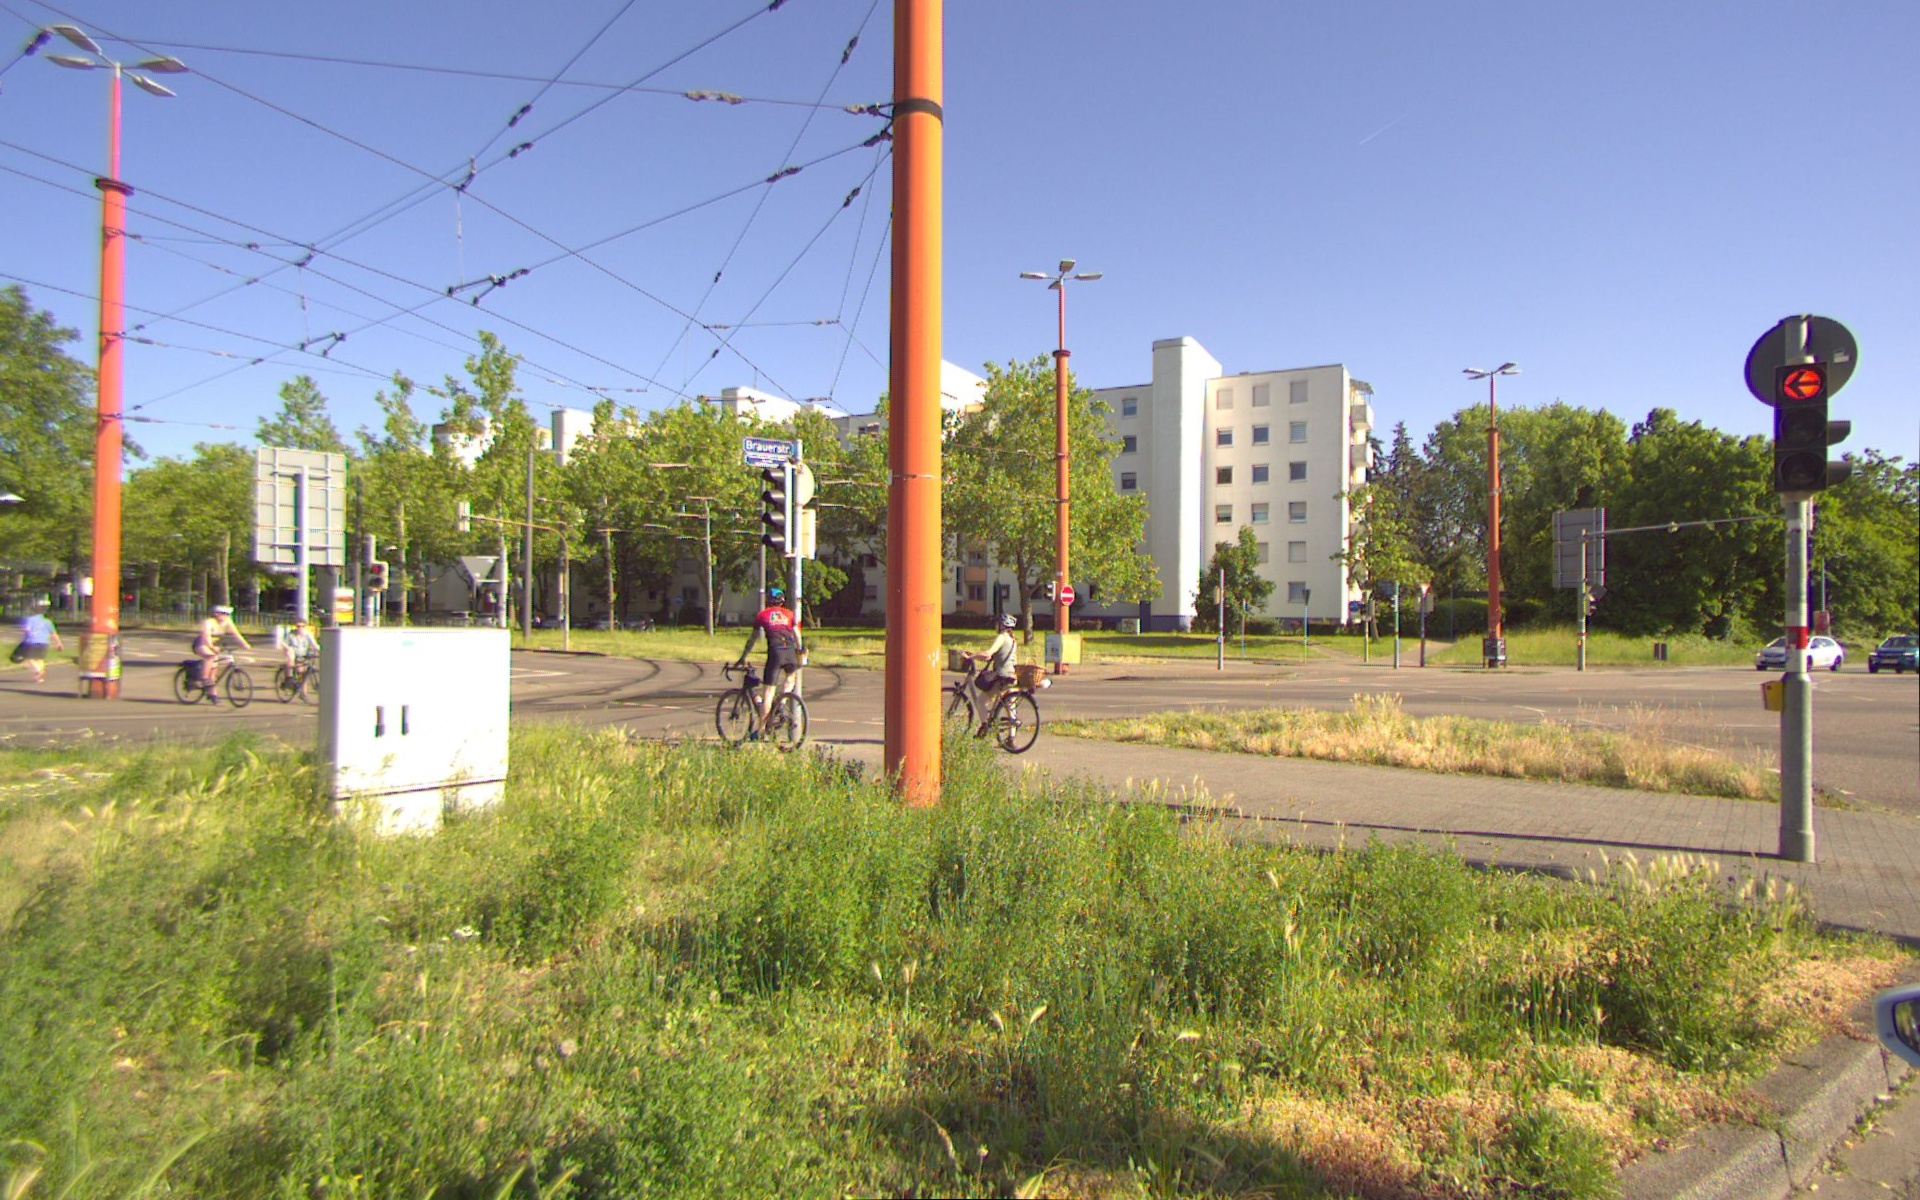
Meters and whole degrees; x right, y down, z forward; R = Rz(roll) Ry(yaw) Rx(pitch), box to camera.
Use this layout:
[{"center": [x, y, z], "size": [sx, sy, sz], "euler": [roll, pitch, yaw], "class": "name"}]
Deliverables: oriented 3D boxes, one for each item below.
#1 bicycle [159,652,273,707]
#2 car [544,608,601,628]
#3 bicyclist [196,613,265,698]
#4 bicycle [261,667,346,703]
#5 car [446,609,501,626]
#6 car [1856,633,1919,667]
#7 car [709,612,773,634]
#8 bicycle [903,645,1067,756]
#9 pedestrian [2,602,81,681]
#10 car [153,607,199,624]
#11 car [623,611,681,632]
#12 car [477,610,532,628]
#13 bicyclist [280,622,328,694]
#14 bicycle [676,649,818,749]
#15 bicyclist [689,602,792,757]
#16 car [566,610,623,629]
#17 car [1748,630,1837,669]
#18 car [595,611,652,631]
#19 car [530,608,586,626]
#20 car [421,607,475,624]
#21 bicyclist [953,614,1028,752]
[{"center": [-13.990, 1.491, 18.909], "size": [1.612, 0.974, 0.685], "euler": [1, -1, -1], "class": "bicycle"}, {"center": [-30.075, 1.413, 78.072], "size": [3.934, 1.428, 1.794], "euler": [1, -1, -16], "class": "car"}, {"center": [-13.758, 1.030, 18.961], "size": [0.752, 1.565, 0.732], "euler": [1, -1, -1], "class": "bicyclist"}, {"center": [-13.012, 1.692, 19.928], "size": [1.393, 0.668, 0.435], "euler": [1, -1, 1], "class": "bicycle"}, {"center": [-41.434, 1.480, 85.622], "size": [3.935, 1.428, 1.794], "euler": [1, -1, -17], "class": "car"}, {"center": [37.159, 1.959, 39.621], "size": [3.571, 1.260, 1.730], "euler": [1, -1, -31], "class": "car"}, {"center": [-14.540, 1.546, 66.840], "size": [1.770, 1.428, 3.987], "euler": [0, -1, 35], "class": "car"}, {"center": [0.289, 1.176, 12.236], "size": [1.915, 1.210, 0.690], "euler": [0, -1, 33], "class": "bicycle"}, {"center": [-21.815, 0.973, 23.870], "size": [0.968, 1.817, 0.955], "euler": [1, -1, 4], "class": "pedestrian"}, {"center": [-93.989, 1.873, 120.450], "size": [1.969, 2.040, 3.984], "euler": [0, -1, 38], "class": "car"}, {"center": [-22.254, 1.542, 72.643], "size": [3.934, 1.428, 1.794], "euler": [1, -1, -16], "class": "car"}, {"center": [-38.031, 1.562, 83.881], "size": [3.935, 1.428, 1.794], "euler": [1, -1, -17], "class": "car"}, {"center": [-12.985, 1.145, 19.894], "size": [0.616, 1.399, 0.443], "euler": [1, -1, -1], "class": "bicyclist"}, {"center": [-2.605, 1.161, 12.214], "size": [1.804, 1.071, 0.719], "euler": [0, -1, 40], "class": "bicycle"}, {"center": [-2.629, 0.920, 12.042], "size": [0.981, 1.764, 0.734], "euler": [0, -1, 37], "class": "bicyclist"}, {"center": [-27.576, 1.481, 75.917], "size": [3.934, 1.428, 1.794], "euler": [1, -1, -16], "class": "car"}, {"center": [35.098, 2.070, 42.325], "size": [3.891, 1.552, 1.752], "euler": [1, -1, -31], "class": "car"}, {"center": [-24.995, 1.551, 74.693], "size": [3.934, 1.428, 1.794], "euler": [1, -1, -16], "class": "car"}, {"center": [-31.937, 1.363, 79.969], "size": [3.935, 1.428, 1.794], "euler": [1, -1, -17], "class": "car"}, {"center": [-44.789, 1.381, 87.892], "size": [3.935, 1.428, 1.794], "euler": [1, -1, -17], "class": "car"}, {"center": [0.377, 0.983, 12.181], "size": [0.651, 1.605, 0.671], "euler": [0, -1, 33], "class": "bicyclist"}]
